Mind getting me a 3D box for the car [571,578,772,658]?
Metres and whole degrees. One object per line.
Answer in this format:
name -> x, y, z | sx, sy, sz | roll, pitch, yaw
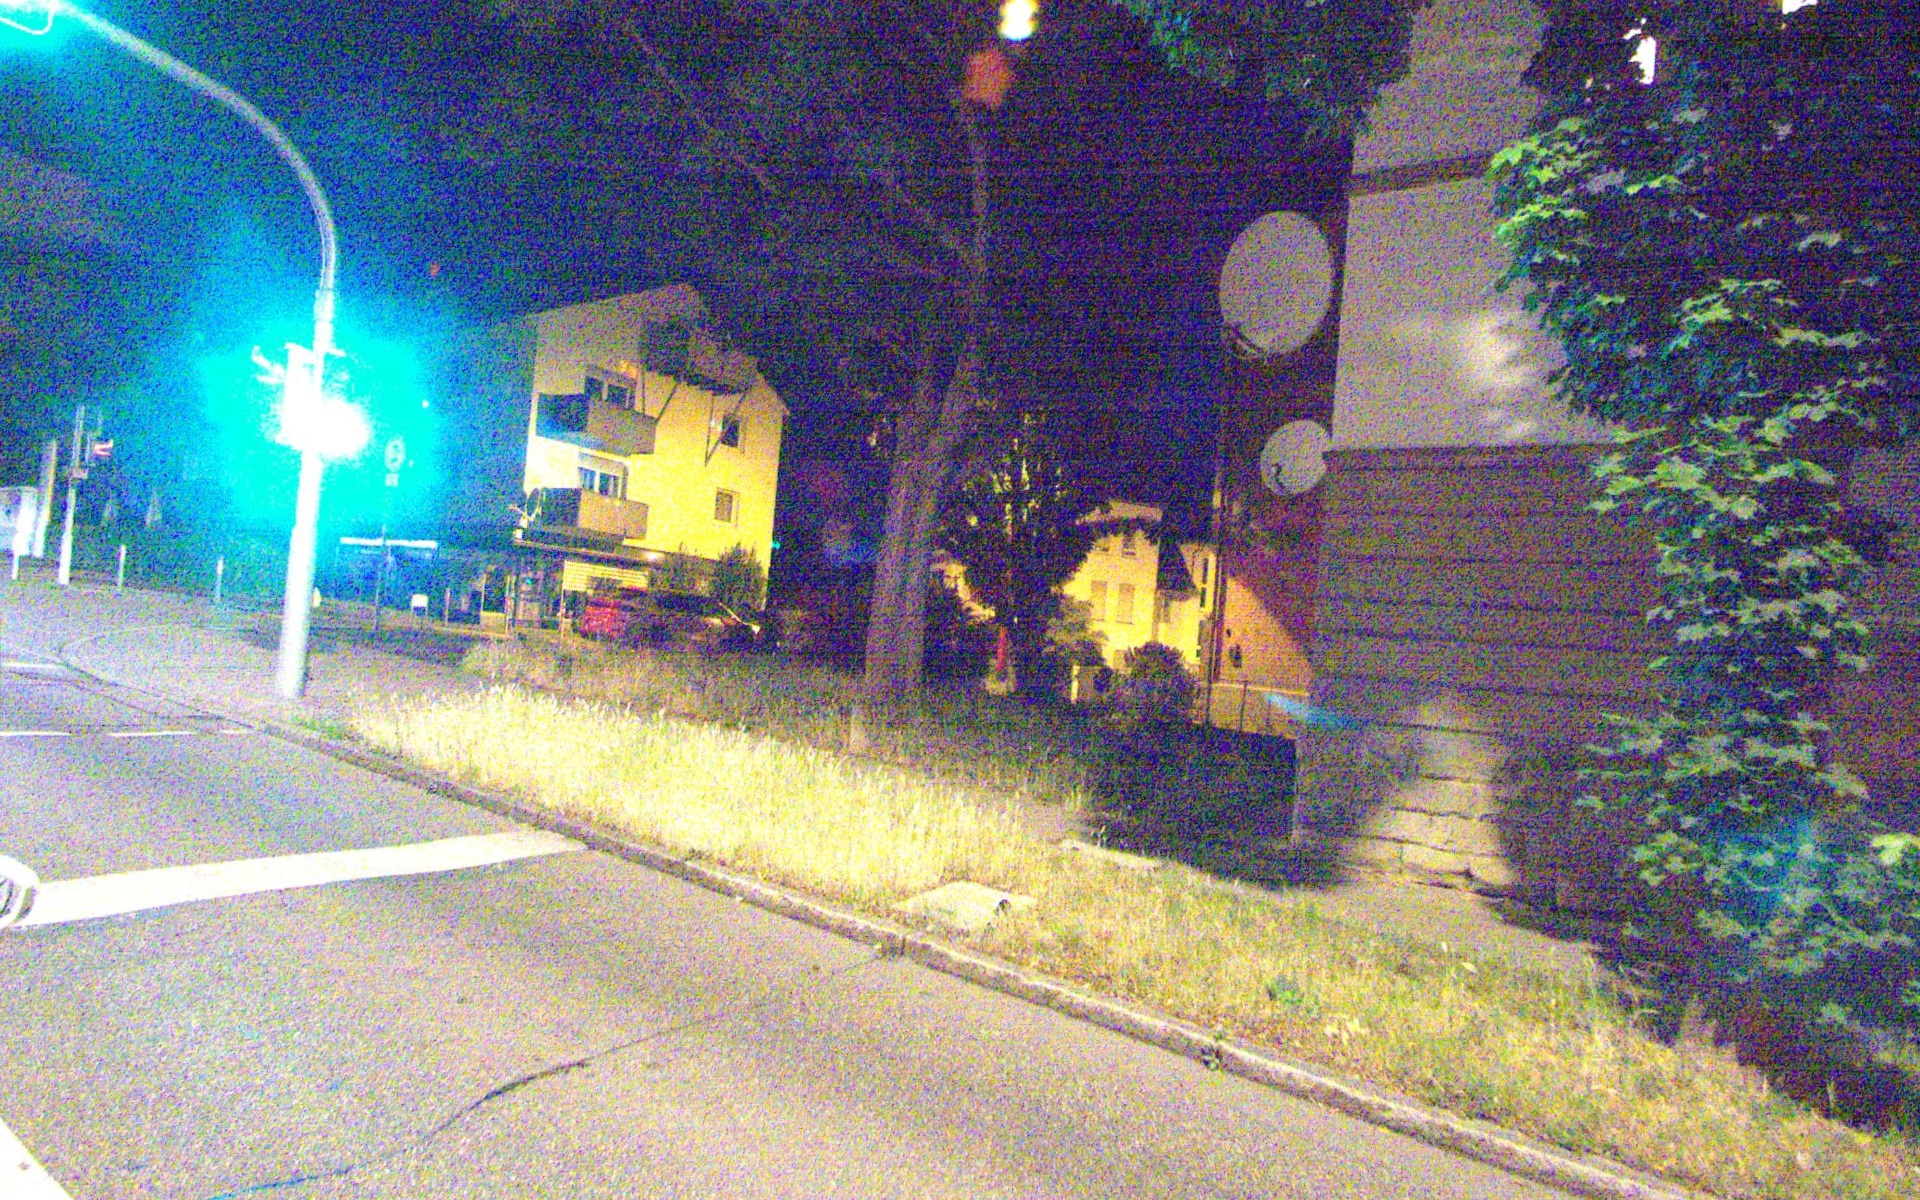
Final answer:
car -> -6.540, 0.455, 23.177 | 1.740, 1.295, 4.131 | 6, -3, 39
